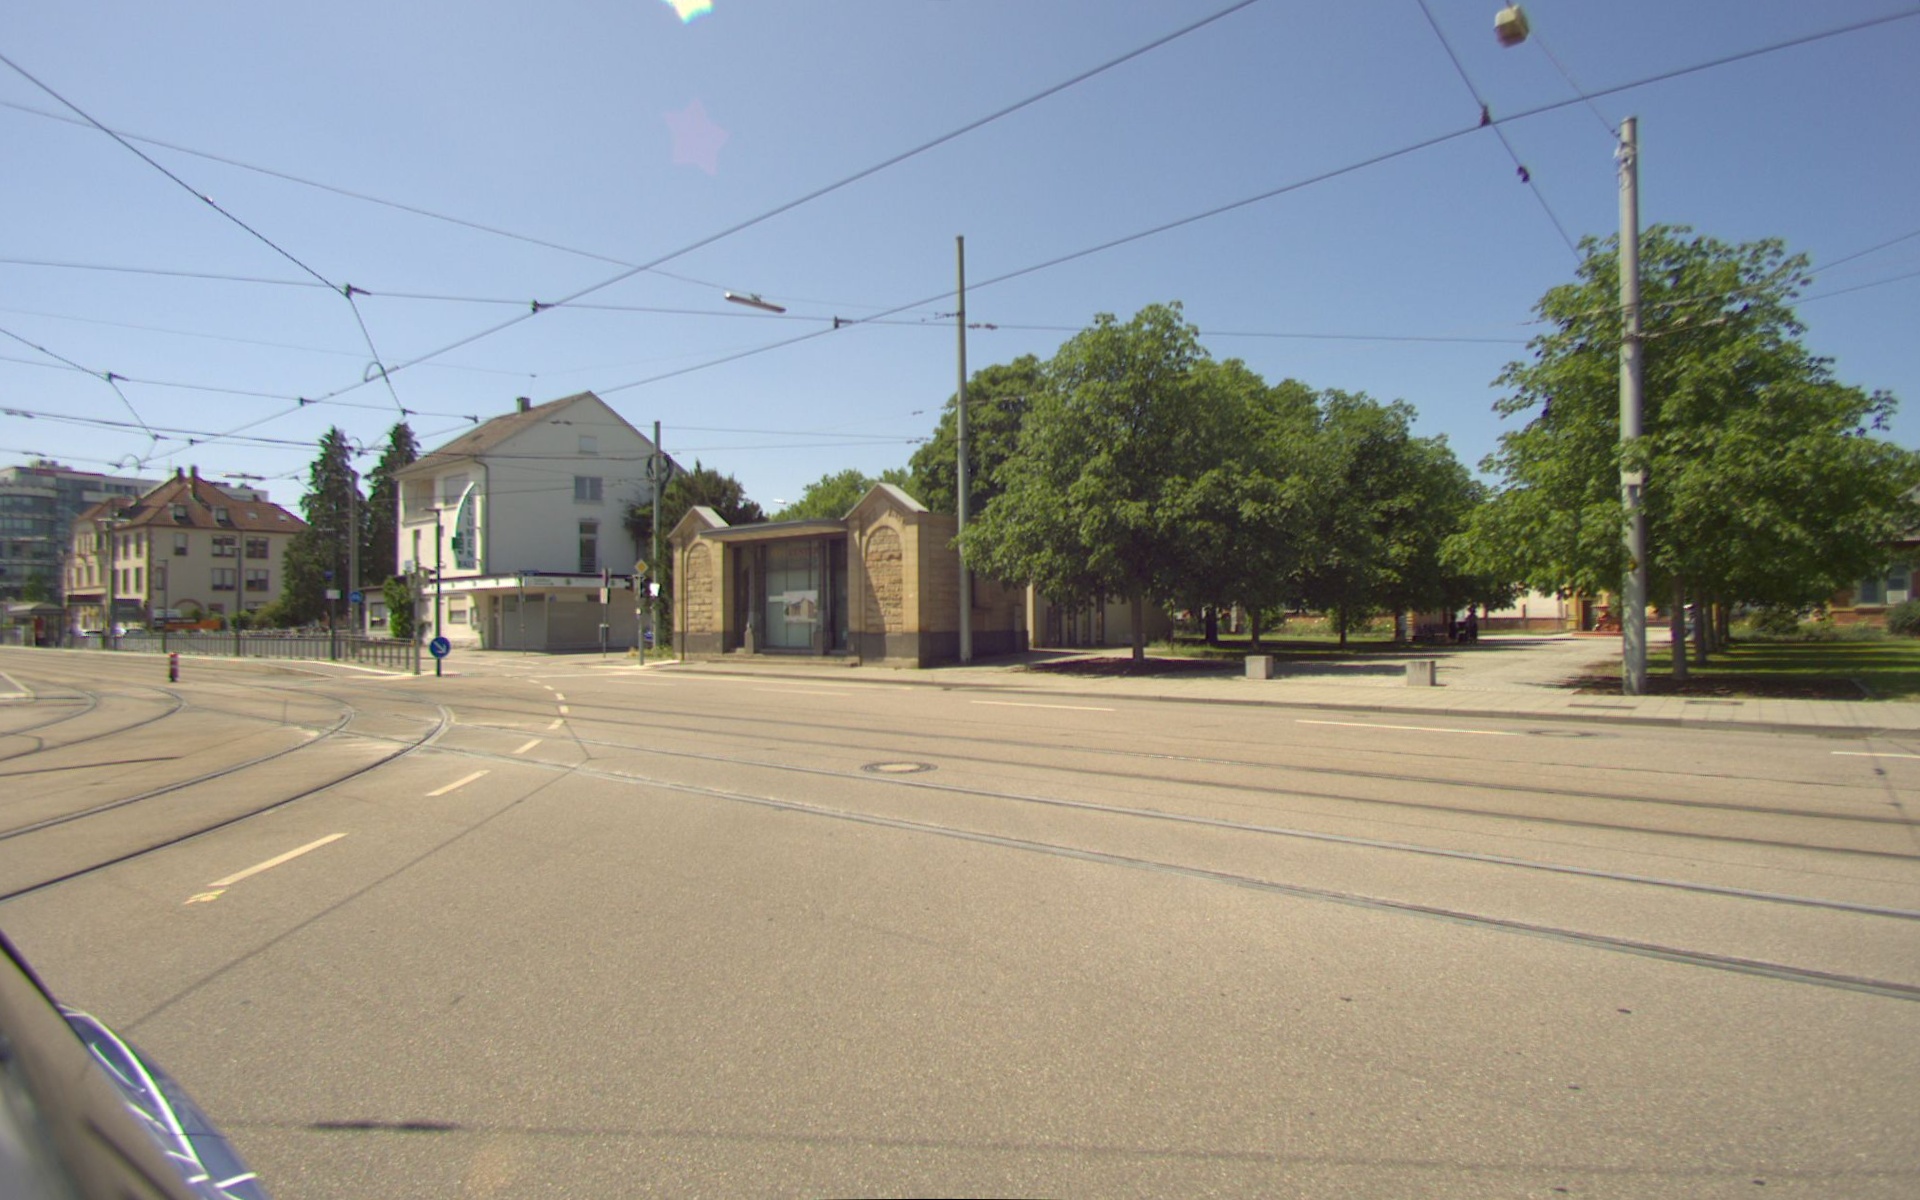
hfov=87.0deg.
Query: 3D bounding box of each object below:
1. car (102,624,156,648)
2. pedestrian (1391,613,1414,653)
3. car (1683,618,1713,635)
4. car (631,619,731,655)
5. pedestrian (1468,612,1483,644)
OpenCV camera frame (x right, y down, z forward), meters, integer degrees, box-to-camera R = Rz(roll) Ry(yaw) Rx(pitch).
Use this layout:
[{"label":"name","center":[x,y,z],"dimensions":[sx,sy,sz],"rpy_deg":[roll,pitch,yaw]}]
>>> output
[{"label":"car","center":[-54.605,2.344,66.451],"dimensions":[4.492,1.501,1.800],"rpy_deg":[-2,-1,38]},{"label":"pedestrian","center":[18.528,1.393,42.405],"dimensions":[0.712,1.660,0.521],"rpy_deg":[-2,-2,39]},{"label":"car","center":[42.852,1.540,58.770],"dimensions":[1.329,0.959,2.702],"rpy_deg":[-2,-1,38]},{"label":"car","center":[-12.399,1.619,45.061],"dimensions":[1.824,1.463,3.901],"rpy_deg":[-2,-1,44]},{"label":"pedestrian","center":[24.644,1.346,48.384],"dimensions":[0.531,1.494,0.522],"rpy_deg":[-2,-2,38]}]
